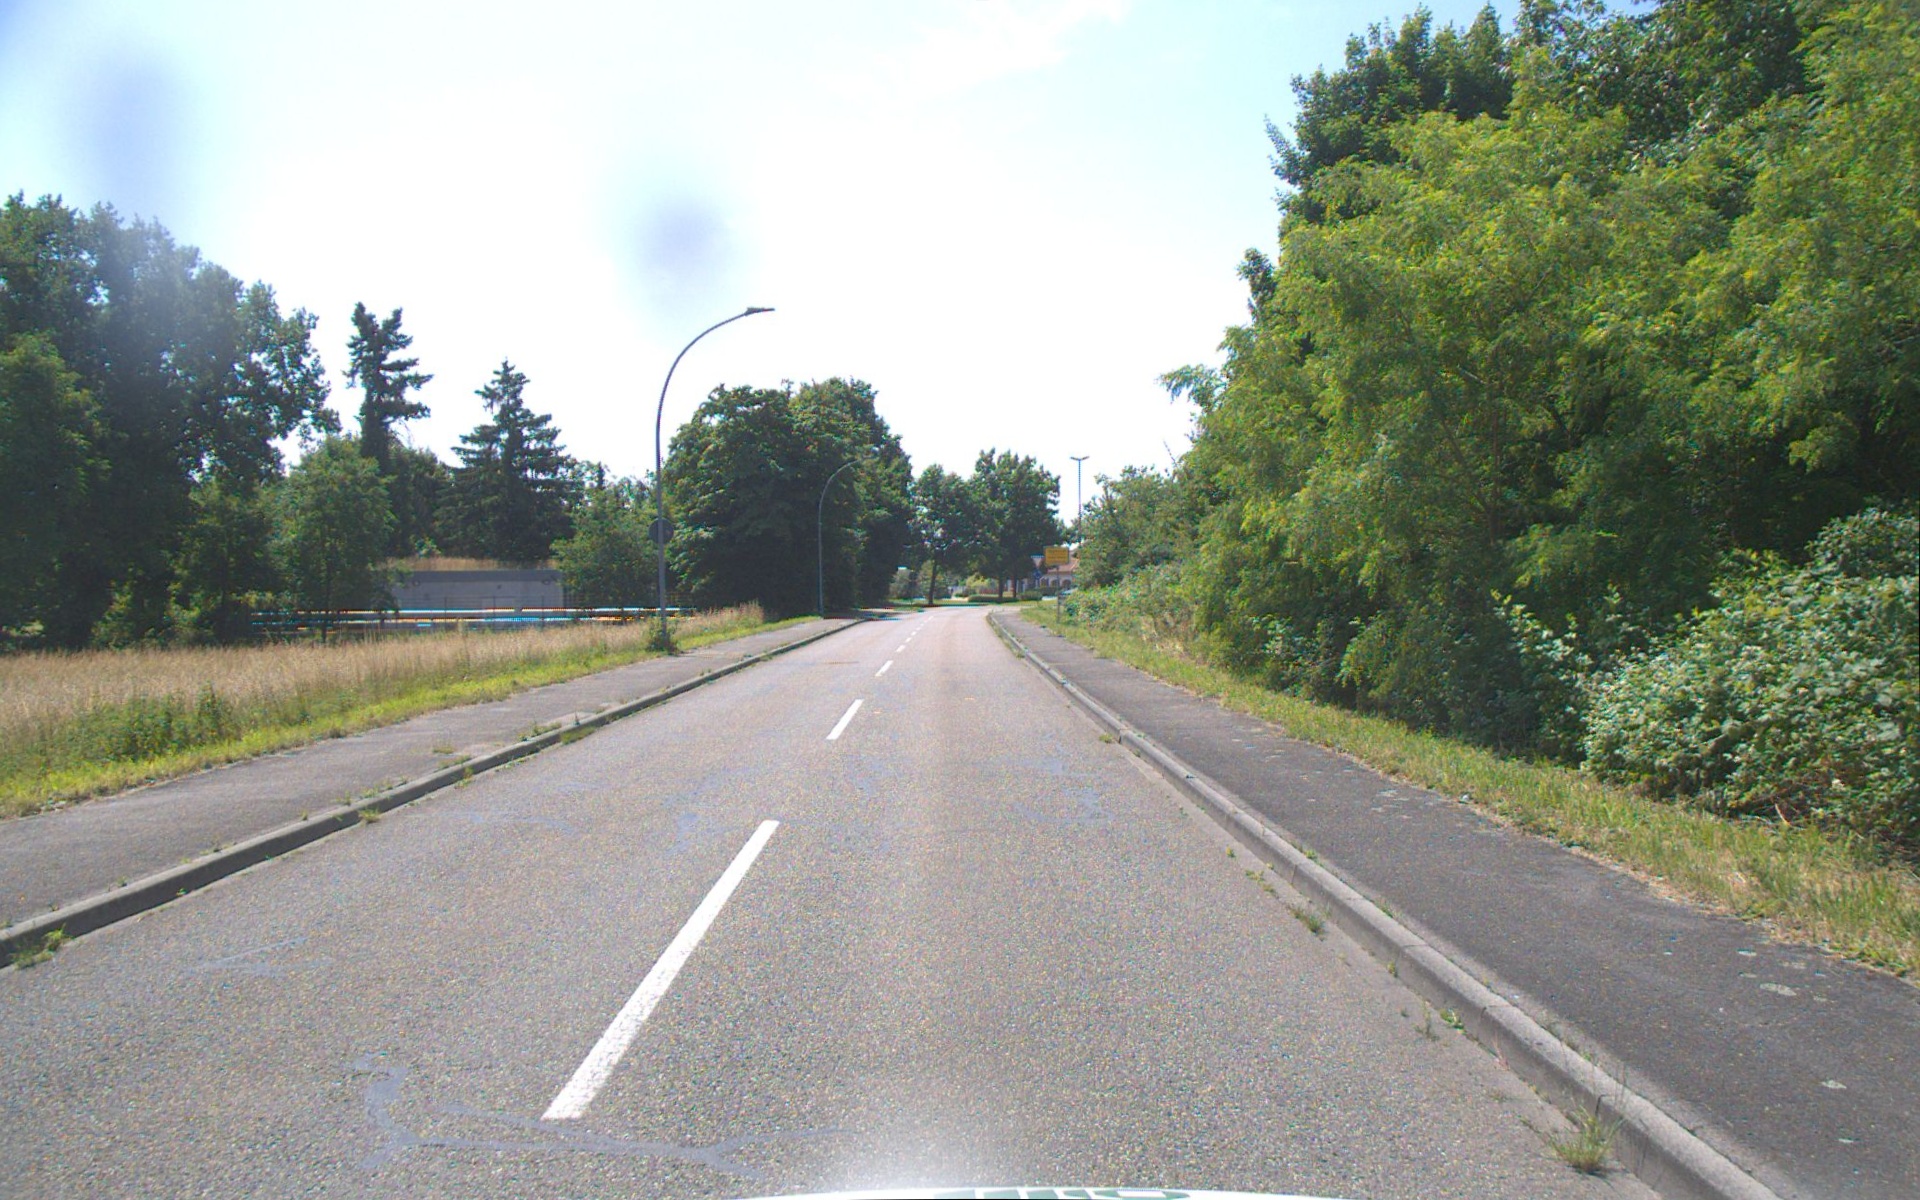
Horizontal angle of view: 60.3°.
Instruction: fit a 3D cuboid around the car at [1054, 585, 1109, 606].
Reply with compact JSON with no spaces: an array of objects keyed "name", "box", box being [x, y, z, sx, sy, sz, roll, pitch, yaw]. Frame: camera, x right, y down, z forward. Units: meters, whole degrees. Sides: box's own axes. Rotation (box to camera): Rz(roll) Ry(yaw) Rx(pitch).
[{"name":"car","box":[7.835,-0.276,106.516,3.530,1.311,1.593,-1,0,-45]}]
